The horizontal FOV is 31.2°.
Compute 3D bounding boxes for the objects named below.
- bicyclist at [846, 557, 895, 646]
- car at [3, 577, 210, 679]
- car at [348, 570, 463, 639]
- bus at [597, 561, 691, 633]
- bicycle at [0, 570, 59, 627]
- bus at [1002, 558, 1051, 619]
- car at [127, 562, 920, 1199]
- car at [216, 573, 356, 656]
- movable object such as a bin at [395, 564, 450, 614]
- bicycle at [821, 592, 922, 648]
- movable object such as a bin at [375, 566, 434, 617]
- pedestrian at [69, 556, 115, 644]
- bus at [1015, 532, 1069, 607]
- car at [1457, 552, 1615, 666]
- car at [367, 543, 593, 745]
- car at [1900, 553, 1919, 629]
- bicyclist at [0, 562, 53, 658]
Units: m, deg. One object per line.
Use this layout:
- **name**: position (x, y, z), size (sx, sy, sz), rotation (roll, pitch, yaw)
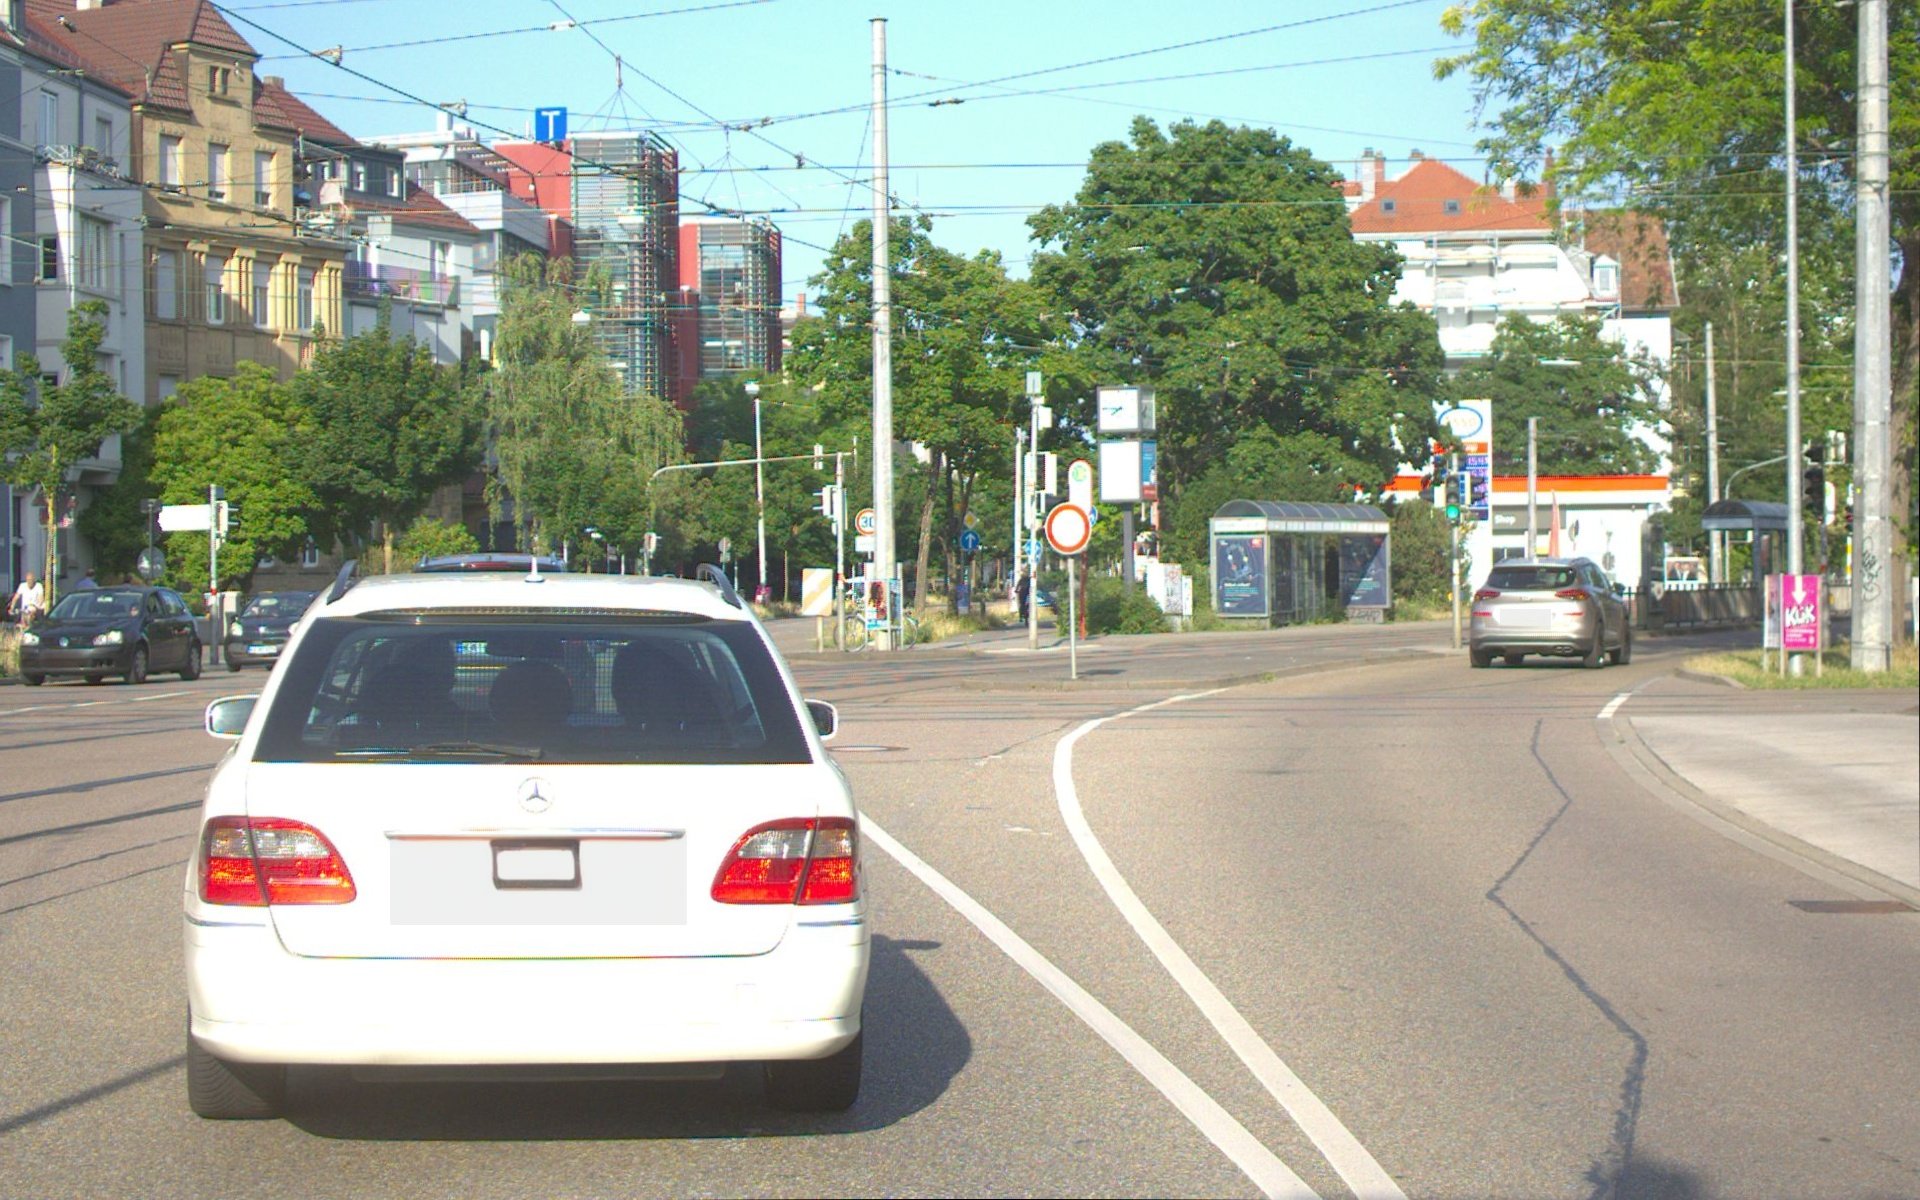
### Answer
- **bicyclist**: position (-1.729, 0.018, 66.704), size (0.899, 1.693, 0.732), rotation (-2, 0, -1)
- **car**: position (-12.654, 0.392, 51.226), size (1.767, 1.428, 3.999), rotation (0, 1, 5)
- **car**: position (-12.229, 0.084, 76.015), size (1.689, 1.436, 4.000), rotation (-1, 1, 3)
- **bus**: position (-7.354, -0.088, 80.322), size (1.844, 1.630, 4.159), rotation (0, 0, -1)
- **bicycle**: position (-16.427, -0.035, 60.144), size (0.769, 0.962, 2.034), rotation (0, 1, 0)
- **bus**: position (2.659, -0.437, 137.582), size (1.797, 2.325, 4.000), rotation (2, 0, 0)
- **car**: position (-1.322, 0.661, 10.032), size (1.835, 1.496, 3.816), rotation (1, 0, -9)
- **car**: position (-12.138, 0.242, 62.106), size (1.634, 1.428, 3.628), rotation (0, 1, 3)
- **movable object such as a bin**: position (-15.513, -0.318, 99.279), size (1.533, 1.416, 1.085), rotation (-1, 0, -8)
- **bicycle**: position (-1.713, 0.385, 66.712), size (1.913, 0.991, 0.727), rotation (-2, 0, 0)
- **movable object such as a bin**: position (-15.799, -0.244, 97.830), size (1.602, 1.416, 1.085), rotation (-1, 0, -8)
- **pedestrian**: position (-17.383, 0.002, 68.877), size (0.638, 1.745, 0.911), rotation (-1, 0, 2)
- **bus**: position (2.899, -1.051, 122.297), size (1.798, 2.546, 4.000), rotation (2, 0, 1)
- **car**: position (8.577, 0.124, 50.983), size (1.837, 1.595, 3.812), rotation (1, 0, 16)
- **car**: position (-4.066, 0.342, 29.580), size (1.641, 1.595, 3.816), rotation (1, 0, -4)
- **car**: position (20.802, -0.225, 70.766), size (1.856, 1.510, 3.994), rotation (-2, 0, 29)
- **bicyclist**: position (-16.450, 0.174, 60.309), size (0.760, 1.662, 1.167), rotation (0, 0, 0)
